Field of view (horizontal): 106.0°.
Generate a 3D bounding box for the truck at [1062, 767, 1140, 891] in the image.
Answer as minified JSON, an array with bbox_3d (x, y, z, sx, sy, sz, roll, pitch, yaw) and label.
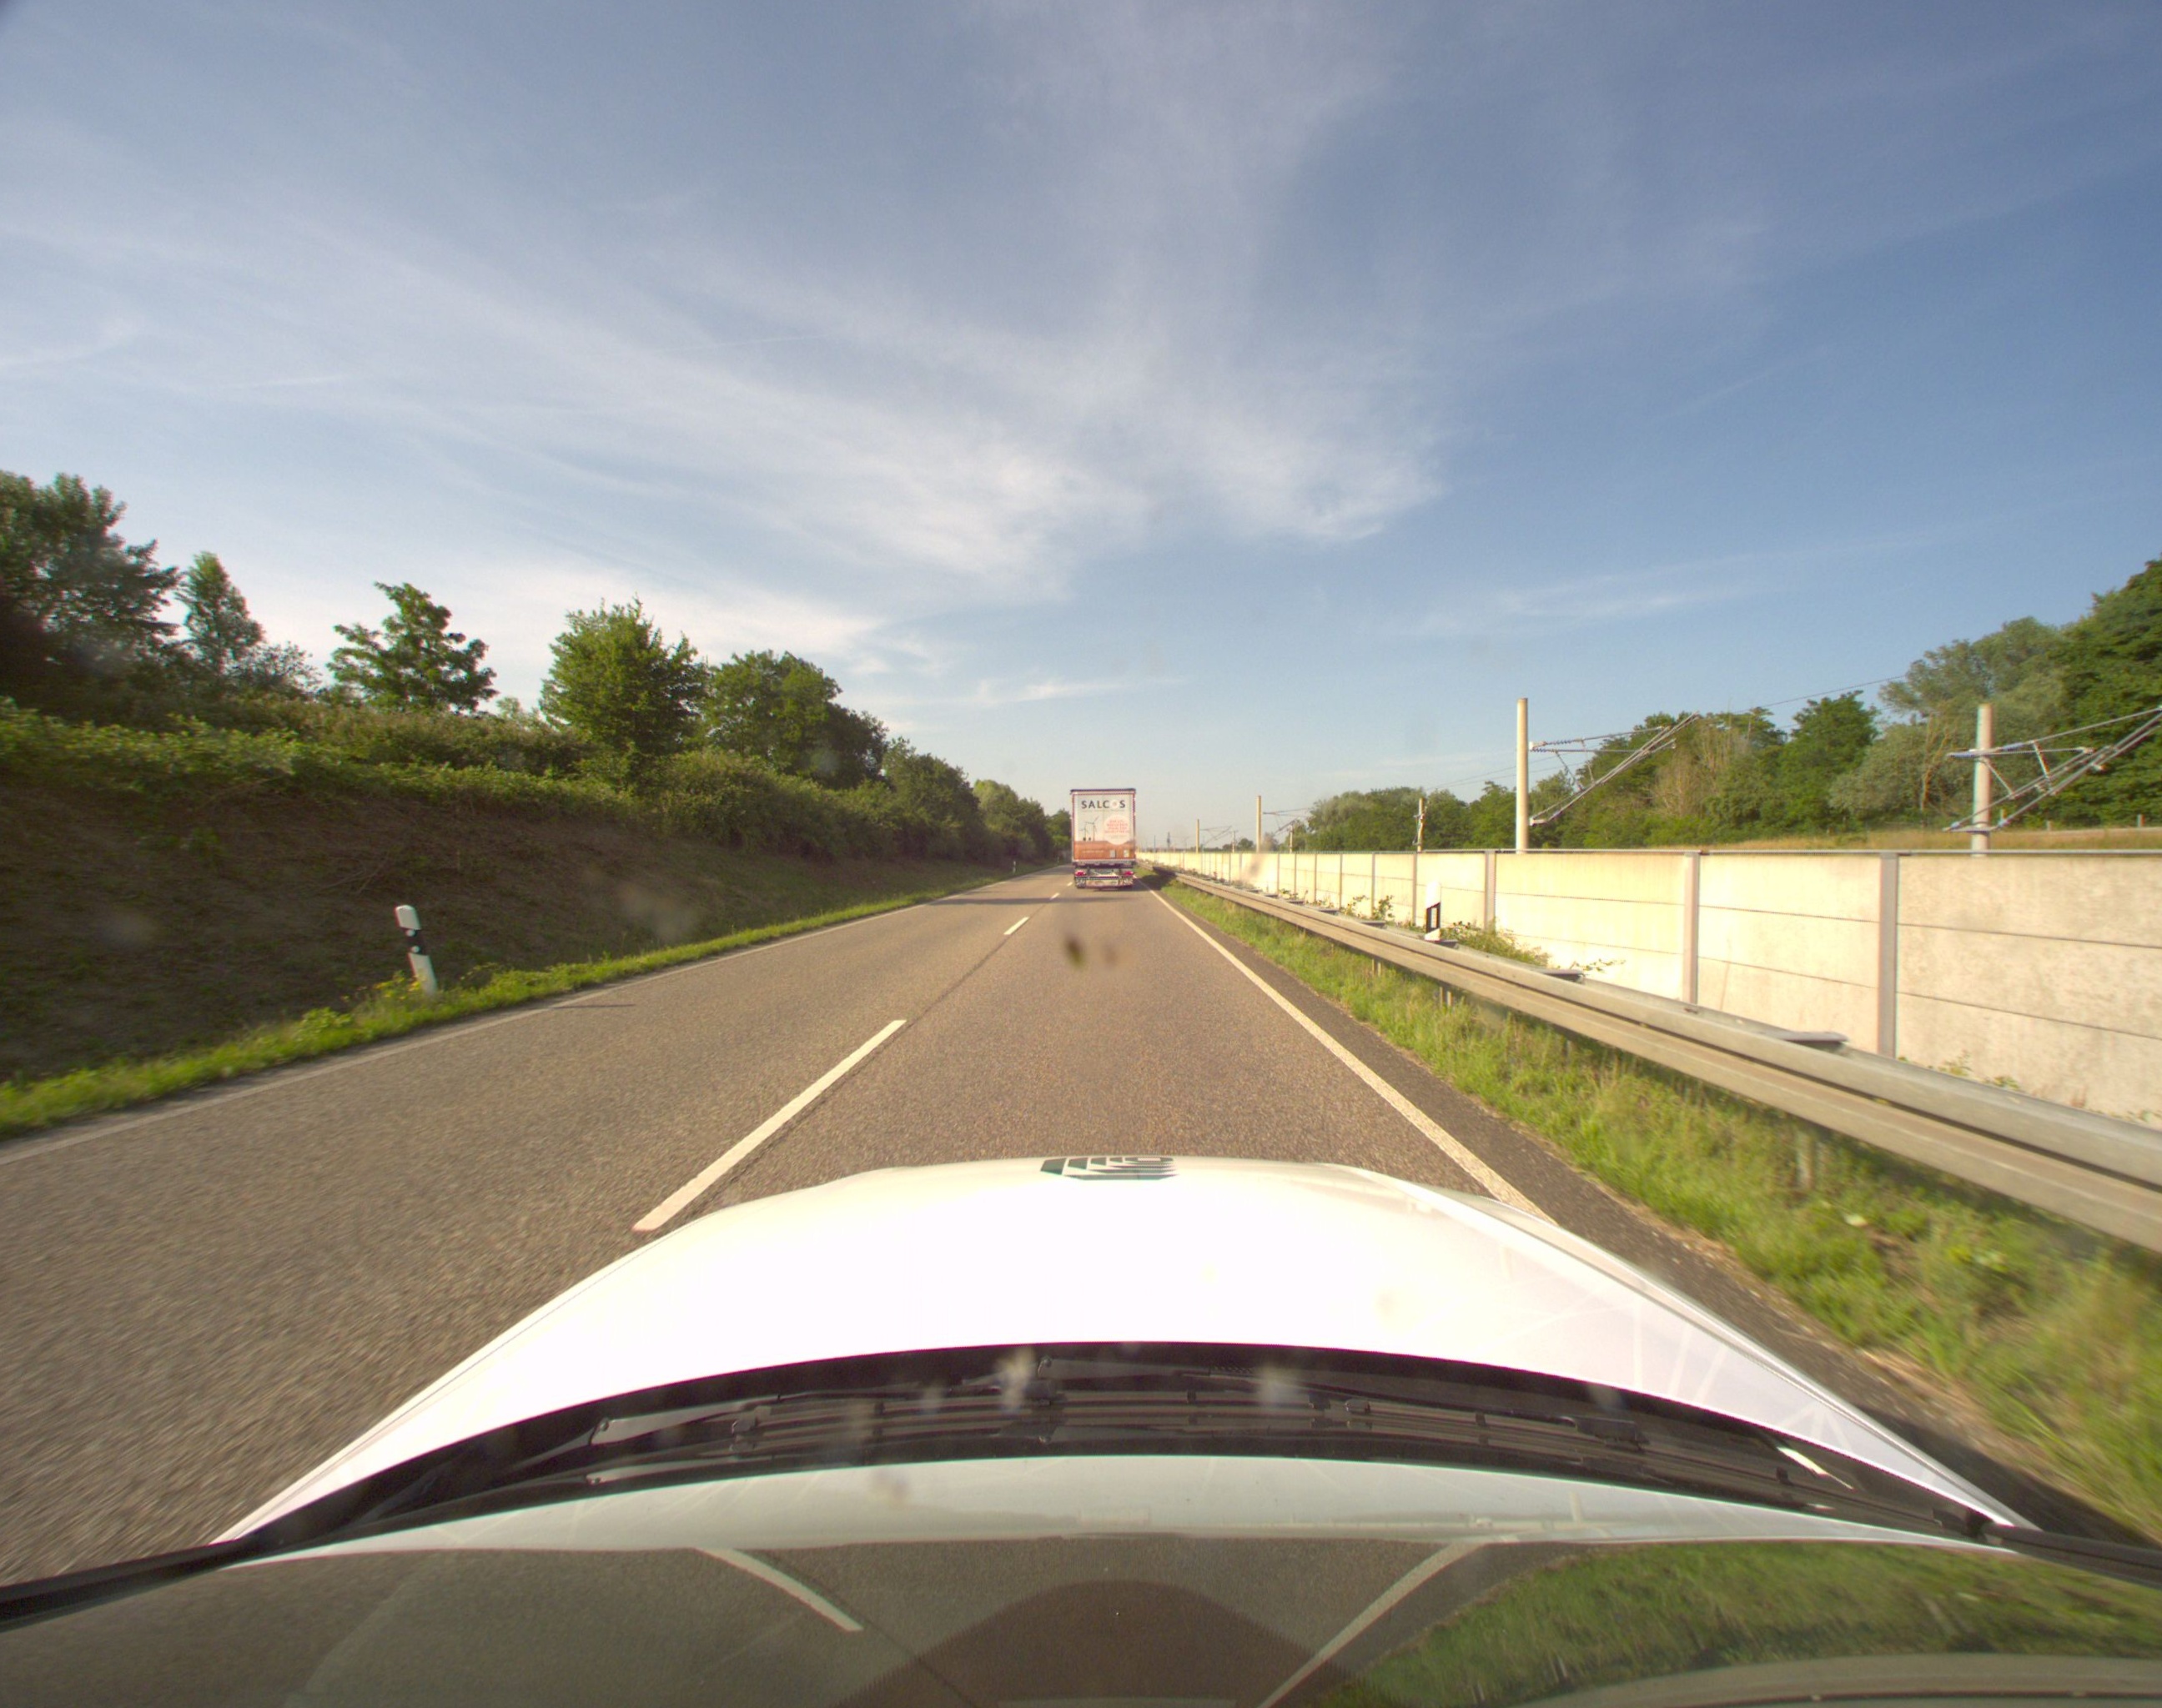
[{"bbox_3d":[0.878,-1.026,38.243,3.022,4.920,11.685,-1,0,1],"label":"truck"}]
